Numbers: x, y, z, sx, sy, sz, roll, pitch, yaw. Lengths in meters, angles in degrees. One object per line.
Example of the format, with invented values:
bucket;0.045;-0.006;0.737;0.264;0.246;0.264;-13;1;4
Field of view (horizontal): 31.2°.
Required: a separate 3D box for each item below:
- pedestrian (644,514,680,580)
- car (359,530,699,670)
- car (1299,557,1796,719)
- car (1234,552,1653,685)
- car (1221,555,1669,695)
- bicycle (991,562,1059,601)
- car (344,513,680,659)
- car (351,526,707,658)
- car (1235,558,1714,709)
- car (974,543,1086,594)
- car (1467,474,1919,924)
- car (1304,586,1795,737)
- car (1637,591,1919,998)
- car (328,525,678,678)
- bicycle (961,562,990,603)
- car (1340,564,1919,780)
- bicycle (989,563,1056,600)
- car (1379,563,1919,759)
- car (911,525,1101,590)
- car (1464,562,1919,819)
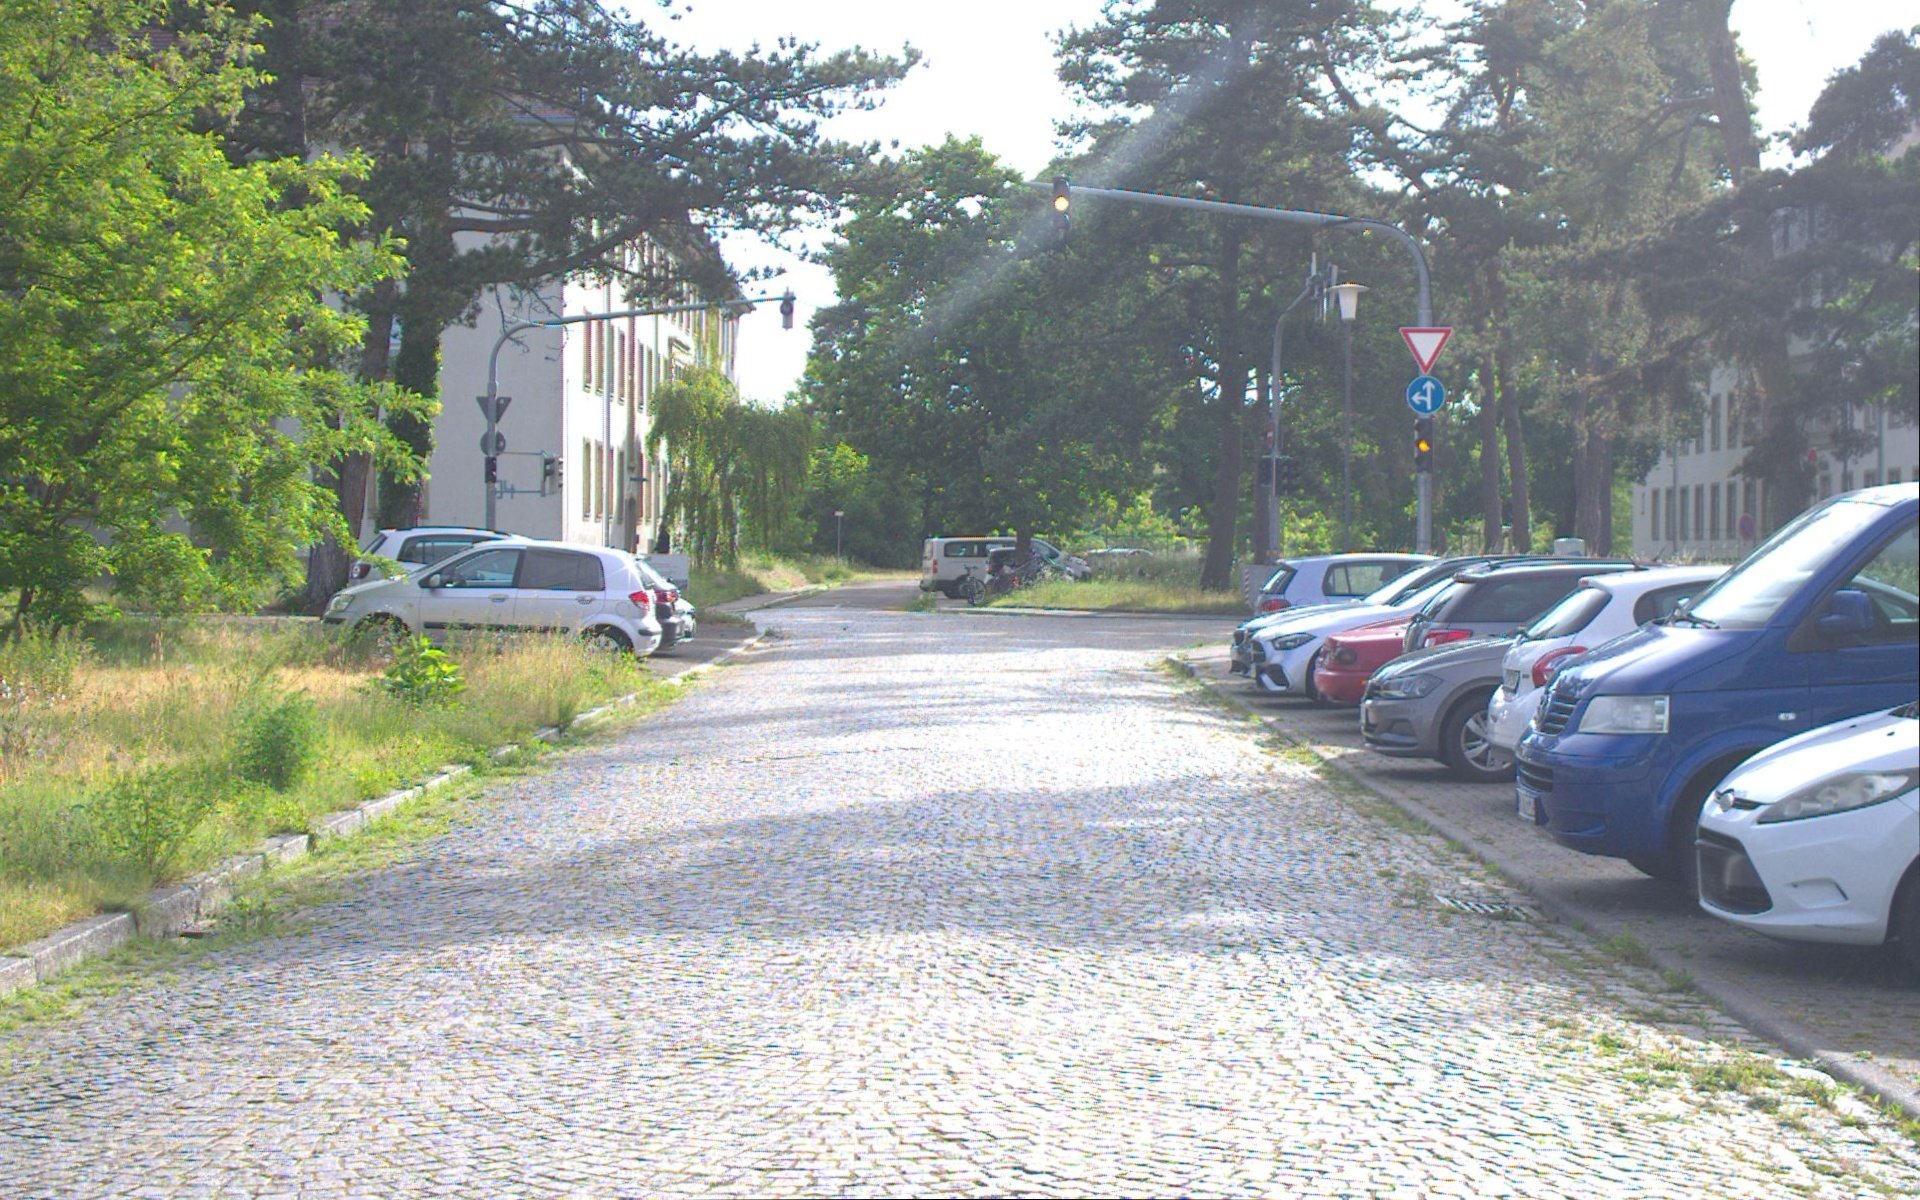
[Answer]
pedestrian;-8.959;-1.601;103.289;0.985;1.956;0.933;1;0;0
car;-5.169;-0.011;41.606;3.828;1.424;1.859;4;0;-1
car;5.424;0.341;32.099;4.341;1.468;1.740;0;0;0
car;5.536;0.202;39.772;4.543;1.500;1.933;0;0;-2
car;5.188;0.253;37.149;4.506;1.468;1.895;0;0;-4
bicycle;1.742;-0.497;91.900;1.793;0.995;0.644;0;2;-1
car;-5.720;-0.181;44.302;4.120;1.594;1.859;3;0;-4
car;-5.817;-0.130;46.846;4.587;1.450;1.904;4;2;-2
car;5.082;0.318;34.371;4.506;1.468;1.849;0;0;0
car;2.086;-0.943;103.244;3.031;1.460;1.720;1;0;-12
car;4.890;0.392;15.951;4.732;1.922;1.992;-1;0;0
car;5.034;0.513;29.725;3.951;1.256;1.726;0;0;1
car;4.946;0.699;13.441;4.190;1.465;1.808;0;0;-3
car;-5.127;0.007;38.950;3.683;1.468;1.850;4;0;-1
bicycle;0.381;-0.455;87.298;0.728;0.995;1.799;0;2;0
car;4.741;0.482;24.164;3.951;1.462;1.831;0;0;1
bicycle;1.703;-0.508;93.401;1.793;0.995;0.644;0;2;-1
car;5.378;0.457;27.083;3.951;1.490;1.772;0;0;1
car;1.414;-1.324;106.812;5.499;1.909;2.255;1;0;-13
car;5.189;0.531;21.304;3.874;1.525;1.808;0;0;1
